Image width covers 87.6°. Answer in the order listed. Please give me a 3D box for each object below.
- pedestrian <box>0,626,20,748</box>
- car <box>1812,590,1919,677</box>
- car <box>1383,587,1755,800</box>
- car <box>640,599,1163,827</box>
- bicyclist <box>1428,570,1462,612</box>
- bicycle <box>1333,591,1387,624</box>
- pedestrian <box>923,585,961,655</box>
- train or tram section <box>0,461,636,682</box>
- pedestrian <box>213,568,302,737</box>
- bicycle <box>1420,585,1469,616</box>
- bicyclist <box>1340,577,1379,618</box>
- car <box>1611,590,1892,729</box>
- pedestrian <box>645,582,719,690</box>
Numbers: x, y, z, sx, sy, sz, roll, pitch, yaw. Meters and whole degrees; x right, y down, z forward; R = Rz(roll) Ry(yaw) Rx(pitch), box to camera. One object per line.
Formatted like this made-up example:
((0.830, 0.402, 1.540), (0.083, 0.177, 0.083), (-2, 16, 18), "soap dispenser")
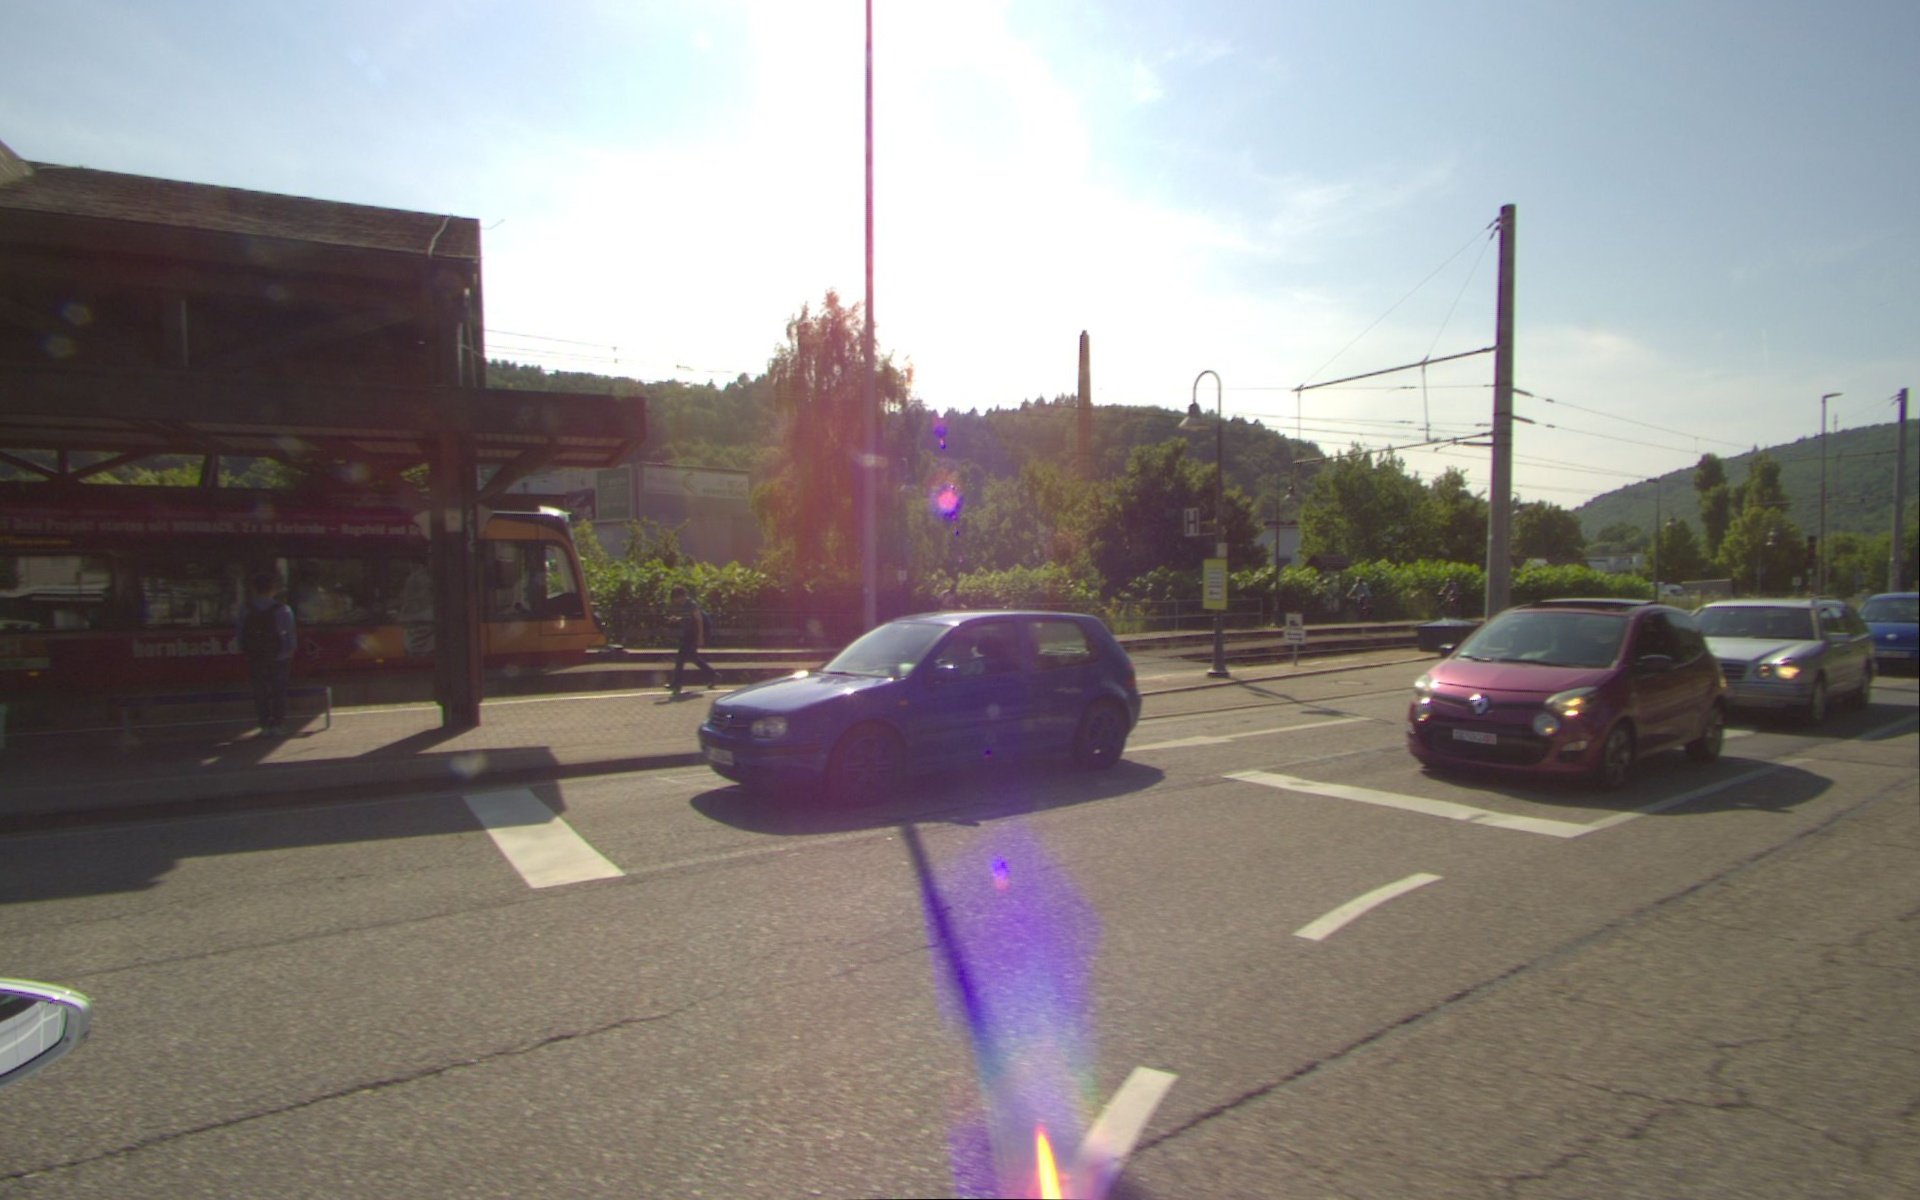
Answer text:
((-9.960, 0.853, 9.804), (0.937, 1.175, 1.003), (-1, 0, -35), "pedestrian")
((17.908, 0.624, 19.023), (3.942, 1.523, 1.965), (1, -2, -39), "car")
((5.669, 0.701, 9.156), (3.908, 1.554, 1.649), (0, 0, -38), "car")
((-0.358, 0.748, 8.686), (4.250, 1.502, 1.852), (0, 1, -38), "car")
((20.855, -0.379, 43.040), (0.854, 1.748, 1.005), (1, -1, -32), "bicyclist")
((15.909, 0.329, 39.806), (2.264, 1.270, 0.868), (1, -2, -32), "bicycle")
((-0.450, 0.546, 26.148), (0.899, 1.758, 1.252), (-1, -3, 3), "pedestrian")
((-13.332, -0.432, 17.803), (14.137, 3.409, 2.852), (0, 0, -28), "train or tram section")
((-7.439, 0.528, 10.622), (0.730, 1.714, 0.654), (-1, 1, -35), "pedestrian")
((20.813, 0.044, 43.001), (2.264, 1.270, 0.868), (1, -2, -32), "bicycle")
((15.865, -0.090, 39.779), (1.026, 1.573, 1.005), (1, -2, -31), "bicyclist")
((10.533, 0.708, 13.202), (4.697, 1.523, 1.965), (1, -2, -39), "car")
((-4.180, 0.529, 15.052), (0.908, 1.568, 0.859), (1, 1, -27), "pedestrian")
